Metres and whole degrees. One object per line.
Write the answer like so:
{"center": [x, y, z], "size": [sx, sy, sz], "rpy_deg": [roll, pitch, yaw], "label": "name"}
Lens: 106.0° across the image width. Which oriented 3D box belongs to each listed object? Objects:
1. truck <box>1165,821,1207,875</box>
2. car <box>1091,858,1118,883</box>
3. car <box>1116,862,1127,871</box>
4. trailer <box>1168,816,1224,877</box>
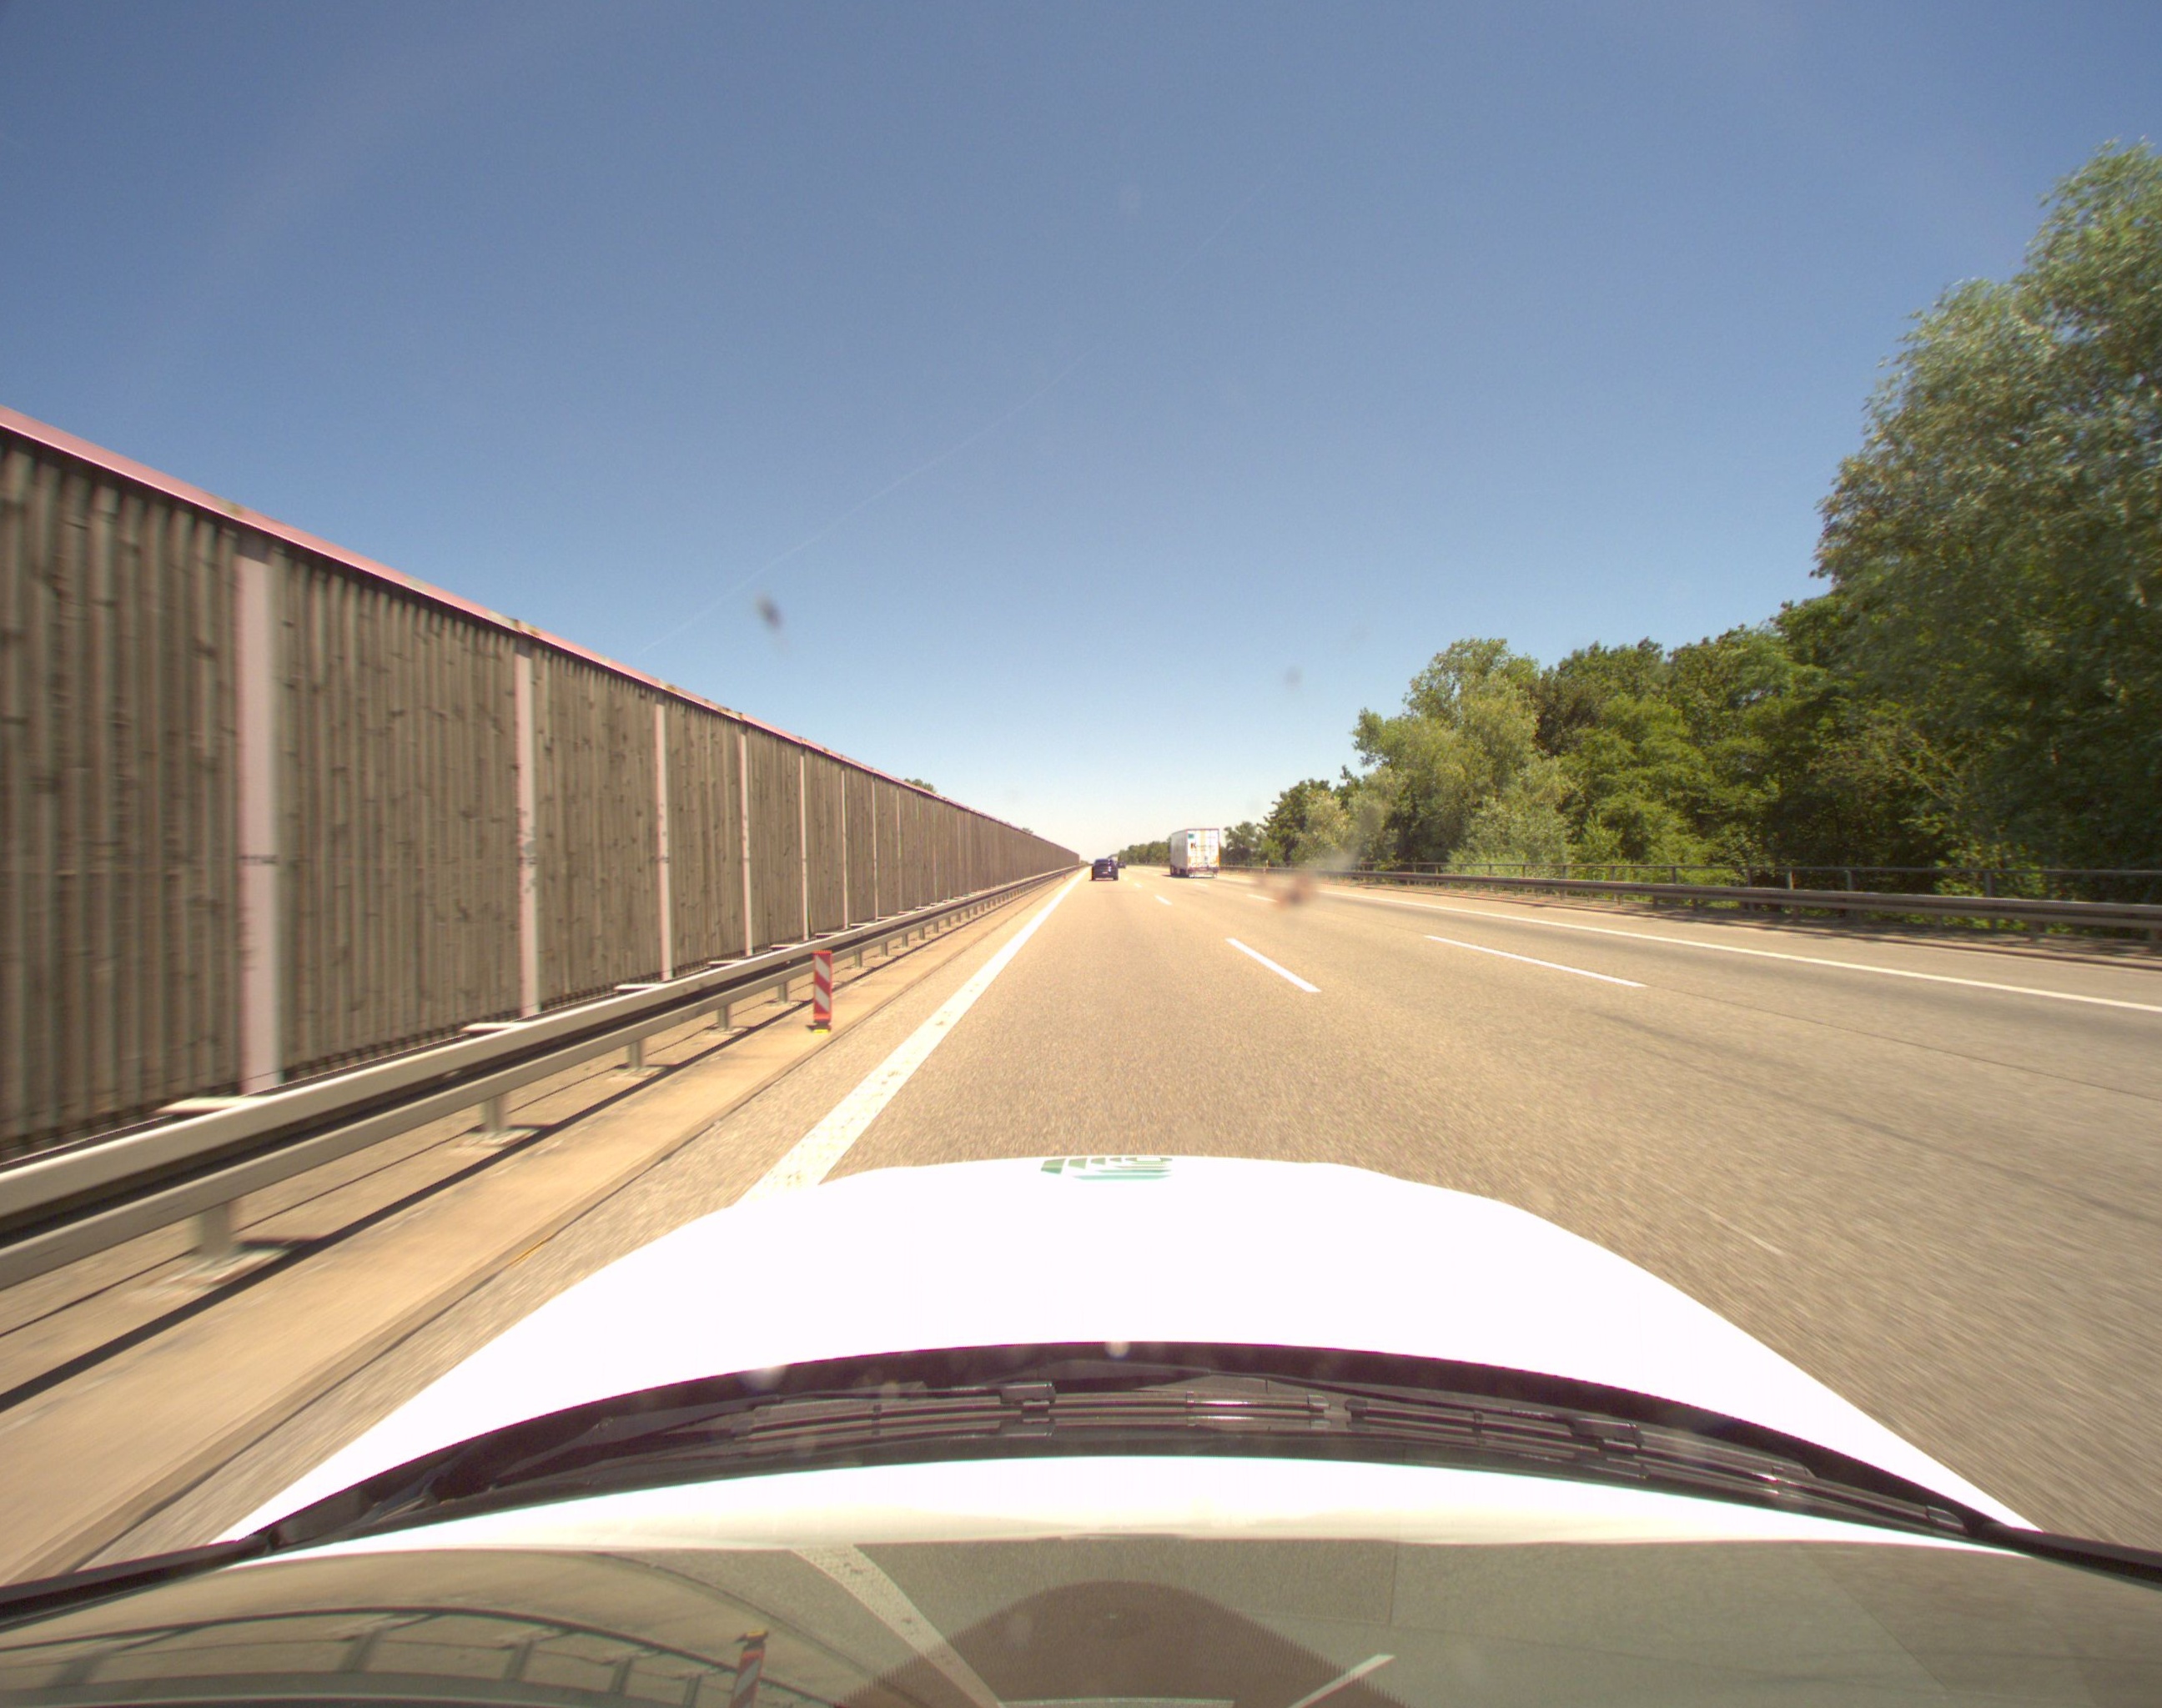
{"center": [10.082, -0.528, 78.792], "size": [3.222, 4.889, 6.973], "rpy_deg": [-1, 0, 1], "label": "truck"}
{"center": [1.711, 1.197, 61.287], "size": [1.874, 1.792, 3.999], "rpy_deg": [-1, 0, 0], "label": "car"}
{"center": [7.338, 2.268, 148.509], "size": [1.896, 1.584, 4.305], "rpy_deg": [-2, -1, 1], "label": "car"}
{"center": [9.929, -0.572, 71.849], "size": [3.257, 4.837, 14.032], "rpy_deg": [-1, 0, 1], "label": "trailer"}
